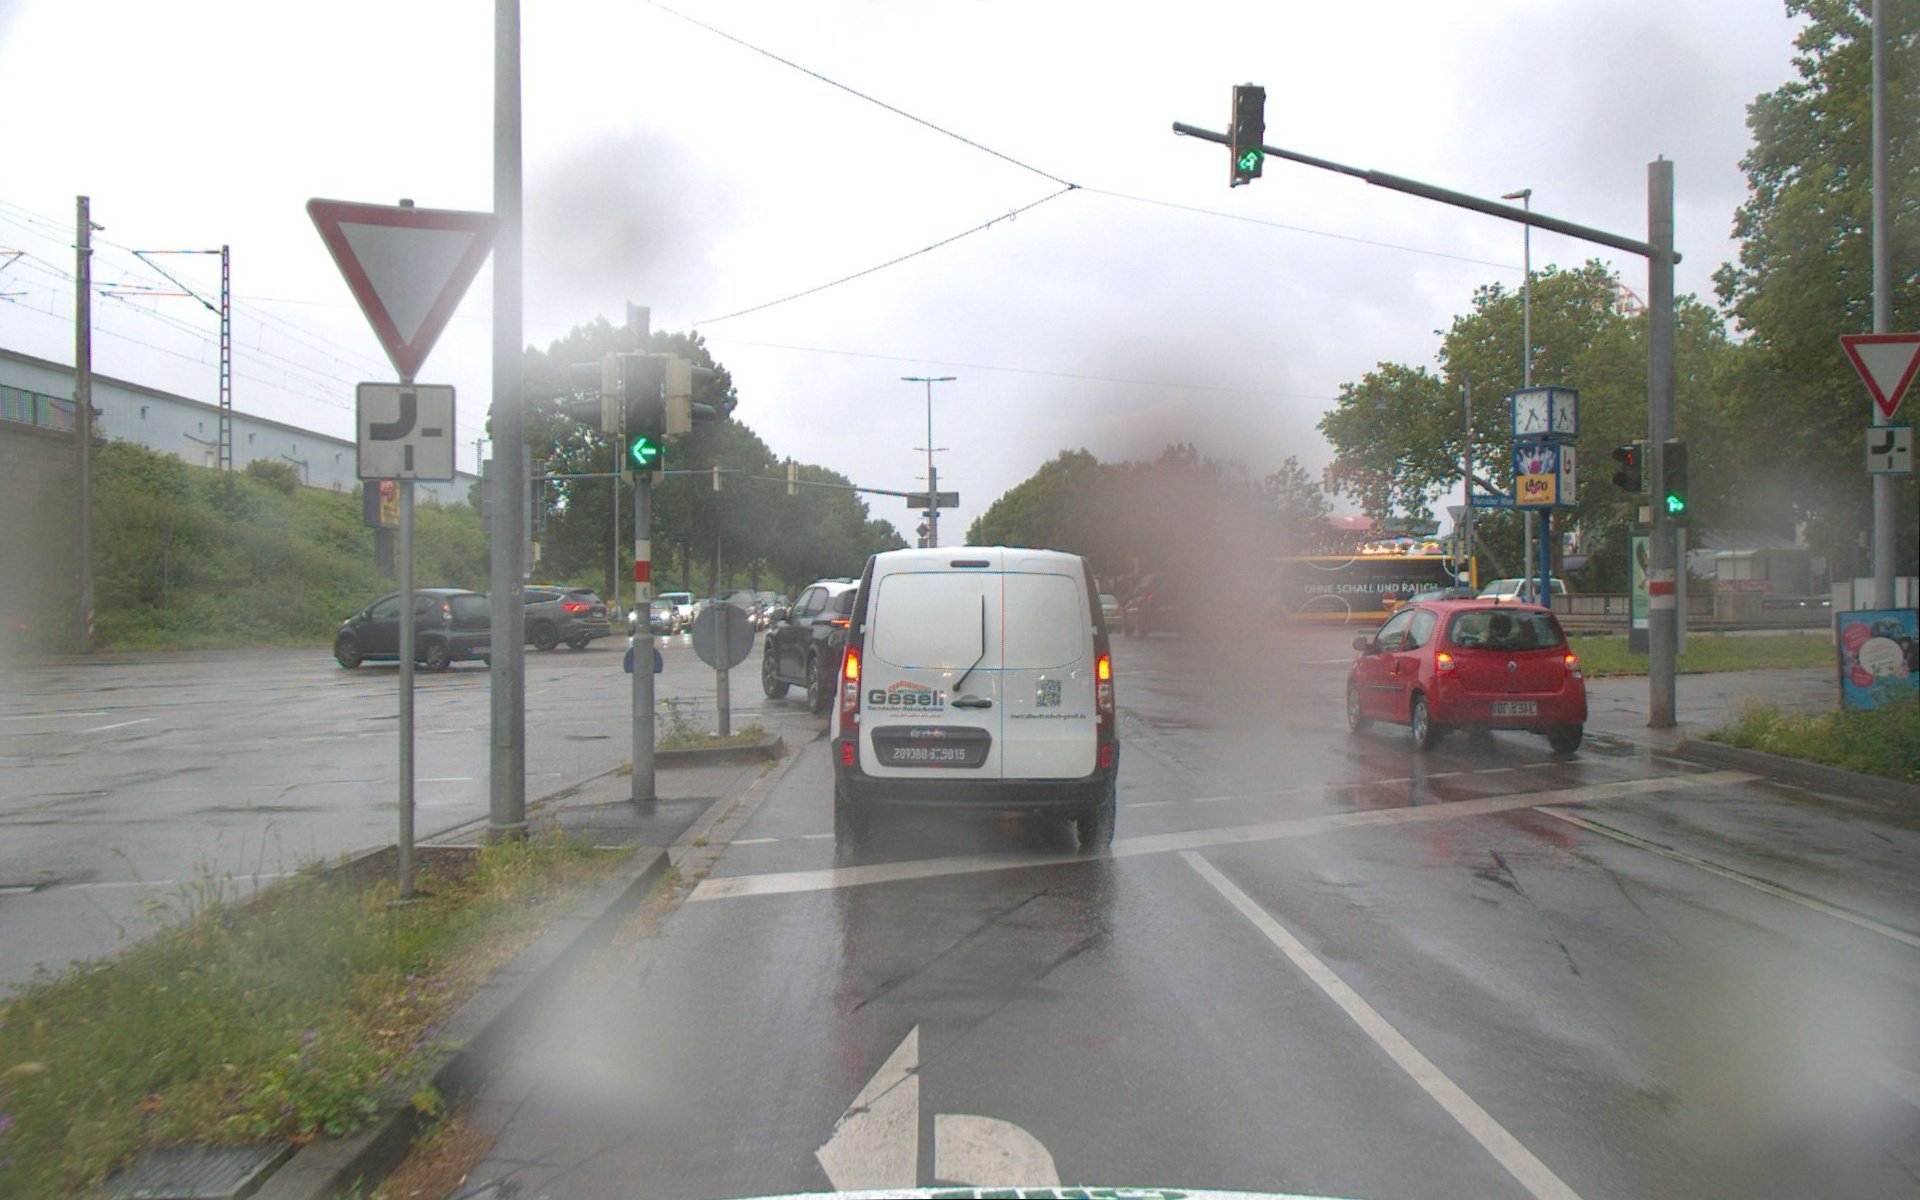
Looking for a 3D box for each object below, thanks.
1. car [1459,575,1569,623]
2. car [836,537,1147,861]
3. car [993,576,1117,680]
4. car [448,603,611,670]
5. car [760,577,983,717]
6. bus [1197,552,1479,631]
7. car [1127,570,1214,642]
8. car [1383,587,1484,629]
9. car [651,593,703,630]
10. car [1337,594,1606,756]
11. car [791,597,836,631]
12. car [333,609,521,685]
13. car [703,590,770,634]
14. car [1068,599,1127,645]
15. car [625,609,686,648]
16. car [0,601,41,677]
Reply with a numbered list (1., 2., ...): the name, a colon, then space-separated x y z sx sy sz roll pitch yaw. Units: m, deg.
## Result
1. car: 22.641 -0.058 67.496 4.698 1.881 2.050 -1 0 -38
2. car: 0.035 0.548 11.295 1.721 1.808 3.996 0 0 -5
3. car: 1.576 0.457 28.719 1.805 1.646 3.999 1 0 -2
4. car: -9.964 0.841 38.378 3.273 1.499 1.570 -1 0 11
5. car: -1.265 0.541 21.665 1.889 1.637 3.977 -1 0 -19
6. bus: 16.954 -0.384 74.729 12.002 3.325 3.273 -1 0 -2
7. car: 5.236 0.134 41.468 1.599 1.684 3.483 1 0 -2
8. car: 19.657 0.317 68.605 4.299 1.680 1.907 -1 0 -39
9. car: -12.054 0.478 70.687 1.791 1.508 3.997 -1 0 -4
10. car: 5.271 0.706 17.519 1.645 1.517 3.620 1 0 -2
11. car: -6.430 0.582 72.332 1.792 1.382 3.993 -1 0 -7
12. car: -10.044 0.854 31.128 3.384 1.329 1.579 0 1 32
13. car: -8.902 0.444 66.259 1.980 1.686 4.062 -1 0 2
14. car: 5.109 0.789 61.911 1.805 1.646 4.000 1 0 0
15. car: -11.829 1.072 64.426 1.855 1.373 3.997 -1 1 -4
16. car: -22.490 0.865 36.298 3.881 1.647 1.985 -1 0 -25
